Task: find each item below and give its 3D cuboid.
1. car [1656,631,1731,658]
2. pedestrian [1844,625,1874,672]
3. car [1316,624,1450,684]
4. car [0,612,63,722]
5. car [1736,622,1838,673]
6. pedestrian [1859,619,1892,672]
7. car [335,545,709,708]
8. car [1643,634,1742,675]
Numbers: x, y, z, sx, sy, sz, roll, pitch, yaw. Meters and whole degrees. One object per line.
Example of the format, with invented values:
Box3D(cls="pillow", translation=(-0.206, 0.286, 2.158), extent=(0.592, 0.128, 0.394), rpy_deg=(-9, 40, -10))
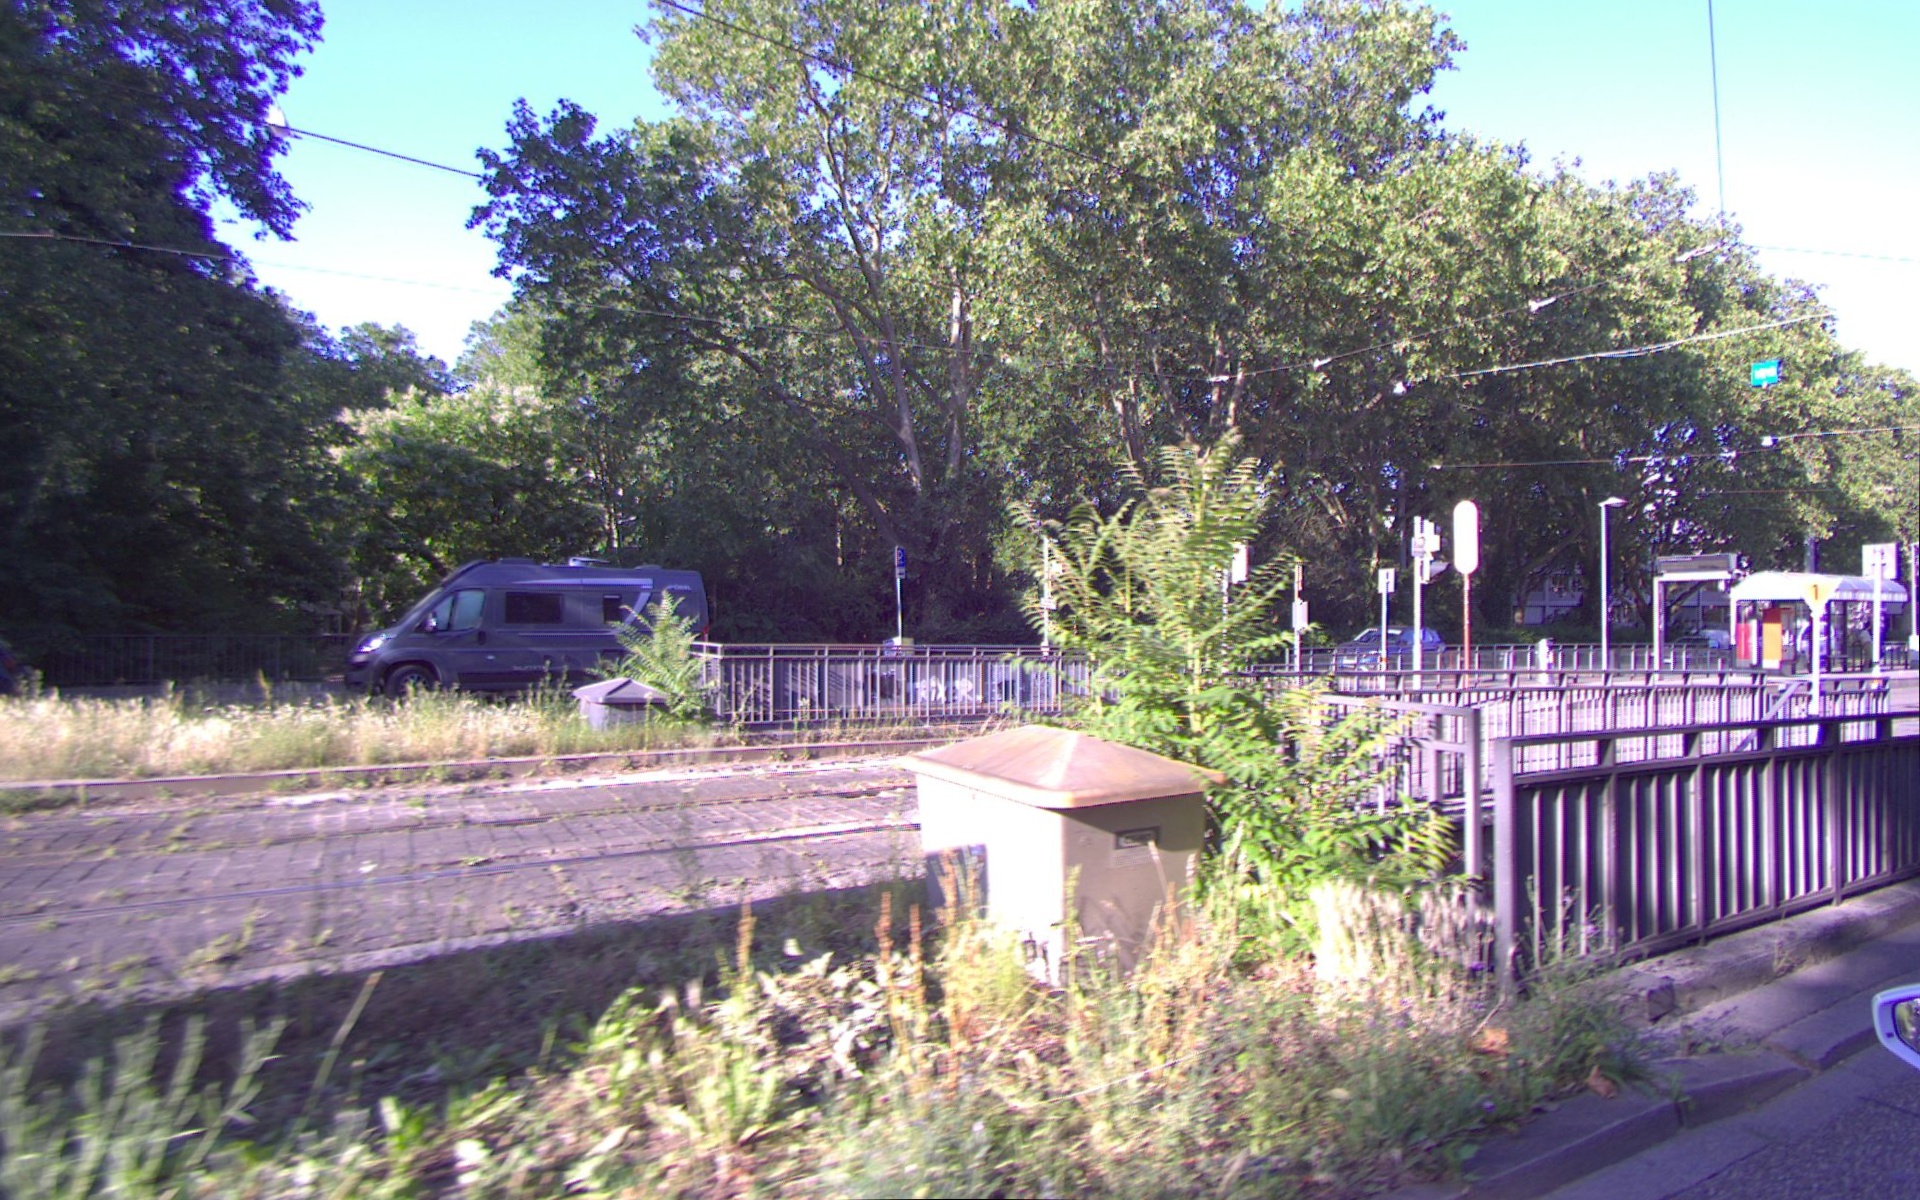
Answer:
Box3D(cls="car", translation=(66.808, 4.074, 91.515), extent=(5.617, 2.366, 2.155), rpy_deg=(1, -1, -8))
Box3D(cls="pedestrian", translation=(30.825, 1.665, 34.455), extent=(0.619, 1.564, 0.590), rpy_deg=(2, 0, -30))
Box3D(cls="car", translation=(12.723, 1.616, 30.156), extent=(3.932, 1.673, 1.891), rpy_deg=(2, -3, -34))
Box3D(cls="car", translation=(-14.842, 0.924, 13.999), extent=(3.232, 1.532, 1.642), rpy_deg=(2, -3, -34))
Box3D(cls="car", translation=(36.823, 2.118, 44.690), extent=(5.035, 2.152, 2.056), rpy_deg=(2, -3, -33))
Box3D(cls="pedestrian", translation=(31.568, 1.575, 34.643), extent=(0.642, 1.795, 0.645), rpy_deg=(2, 0, -28))
Box3D(cls="car", translation=(-7.846, 0.551, 18.329), extent=(5.968, 2.553, 2.171), rpy_deg=(2, -3, -33))
Box3D(cls="car", translation=(29.290, 2.182, 40.138), extent=(4.295, 1.530, 1.784), rpy_deg=(2, -3, -33))
